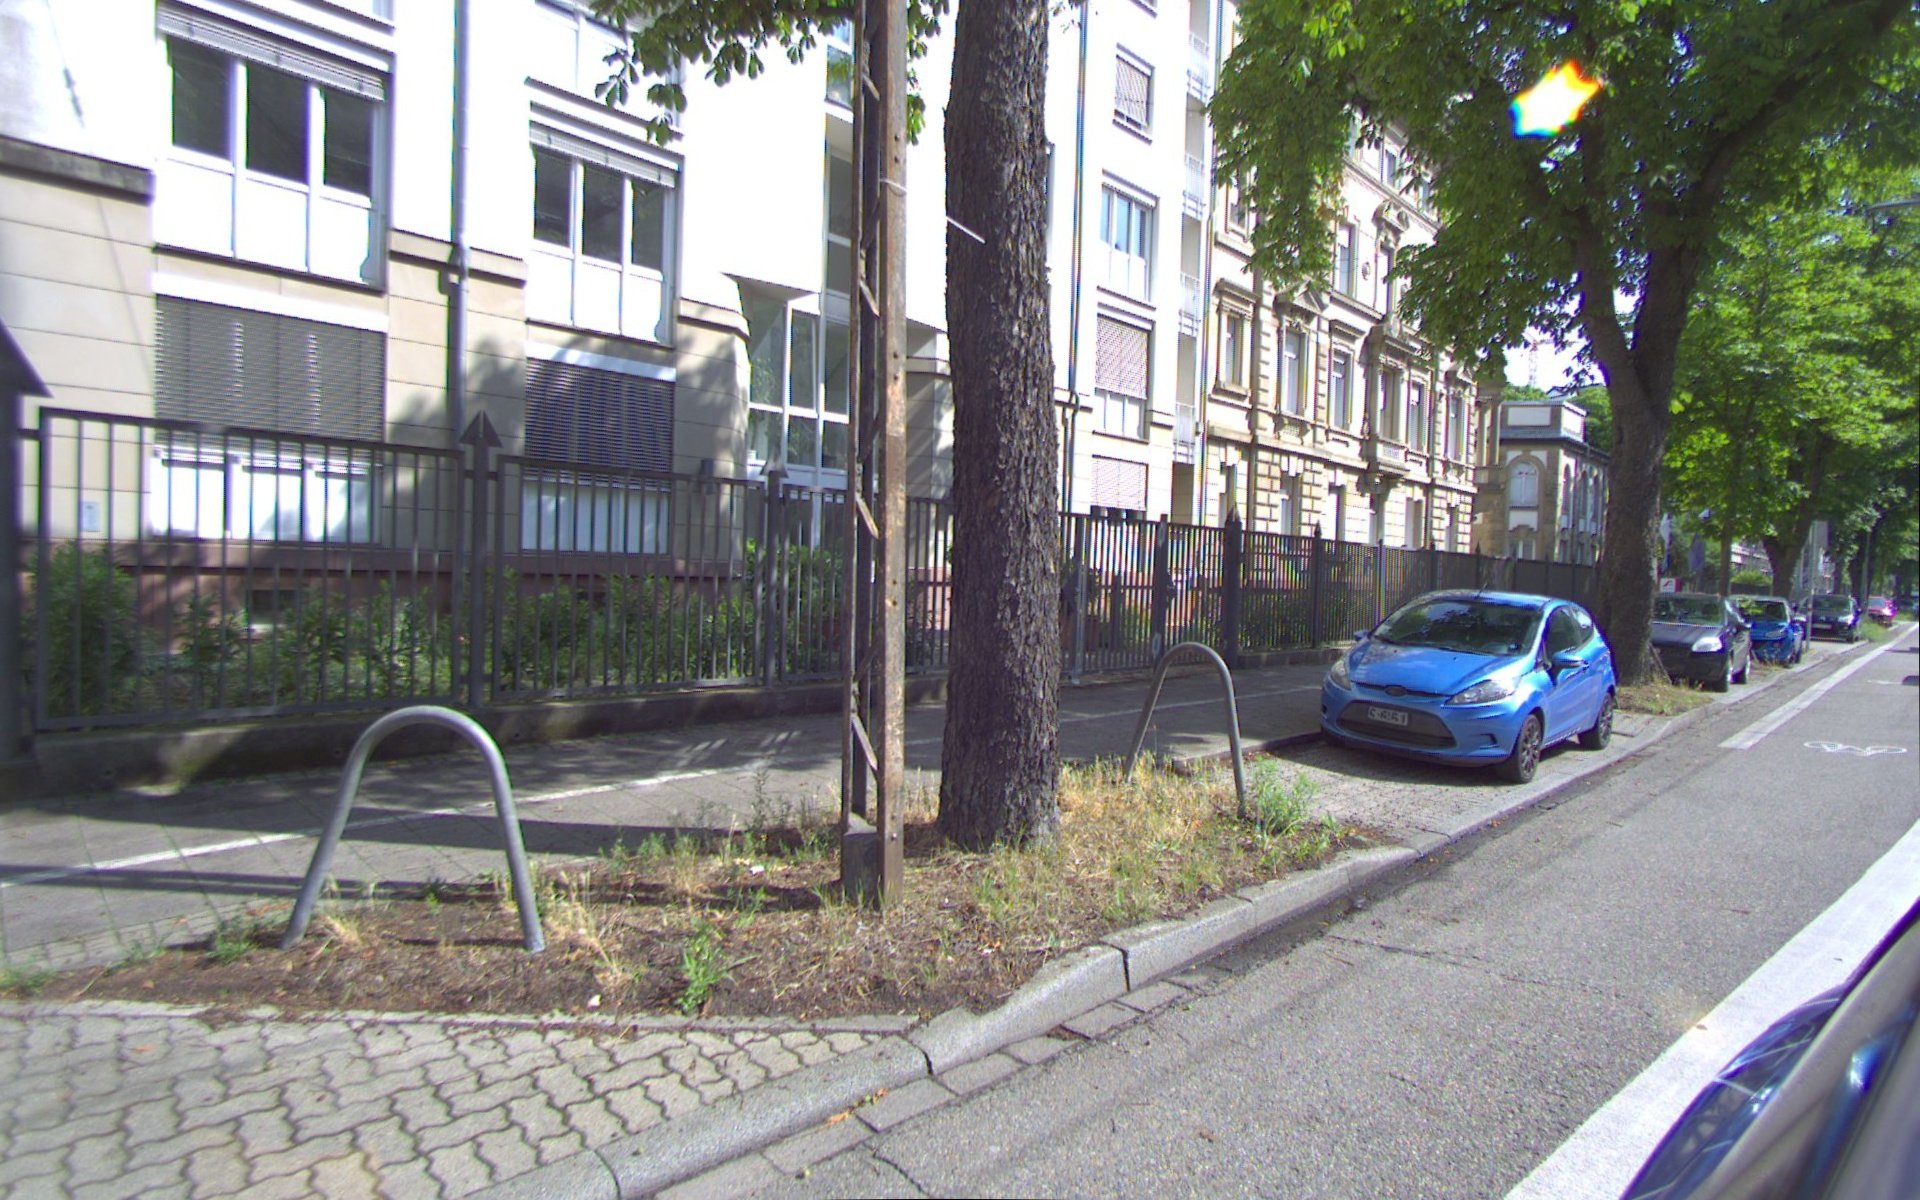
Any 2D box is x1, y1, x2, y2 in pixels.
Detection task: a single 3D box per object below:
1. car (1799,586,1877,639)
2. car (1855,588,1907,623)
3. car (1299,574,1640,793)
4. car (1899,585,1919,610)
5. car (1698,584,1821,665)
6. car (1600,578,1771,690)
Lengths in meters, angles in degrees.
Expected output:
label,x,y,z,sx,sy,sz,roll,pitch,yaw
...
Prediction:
label,x,y,z,sx,sy,sz,roll,pitch,yaw
car,30.547,0.386,35.176,1.741,1.592,3.603,7,5,44
car,46.483,0.243,51.043,1.741,1.592,3.868,7,5,44
car,4.773,0.597,9.263,3.601,1.493,1.644,0,5,-45
car,64.207,-0.146,67.814,1.741,1.592,3.868,7,5,44
car,17.604,0.470,22.236,1.676,1.493,3.603,7,5,44
car,11.889,0.476,16.506,1.676,1.493,3.603,7,5,44
